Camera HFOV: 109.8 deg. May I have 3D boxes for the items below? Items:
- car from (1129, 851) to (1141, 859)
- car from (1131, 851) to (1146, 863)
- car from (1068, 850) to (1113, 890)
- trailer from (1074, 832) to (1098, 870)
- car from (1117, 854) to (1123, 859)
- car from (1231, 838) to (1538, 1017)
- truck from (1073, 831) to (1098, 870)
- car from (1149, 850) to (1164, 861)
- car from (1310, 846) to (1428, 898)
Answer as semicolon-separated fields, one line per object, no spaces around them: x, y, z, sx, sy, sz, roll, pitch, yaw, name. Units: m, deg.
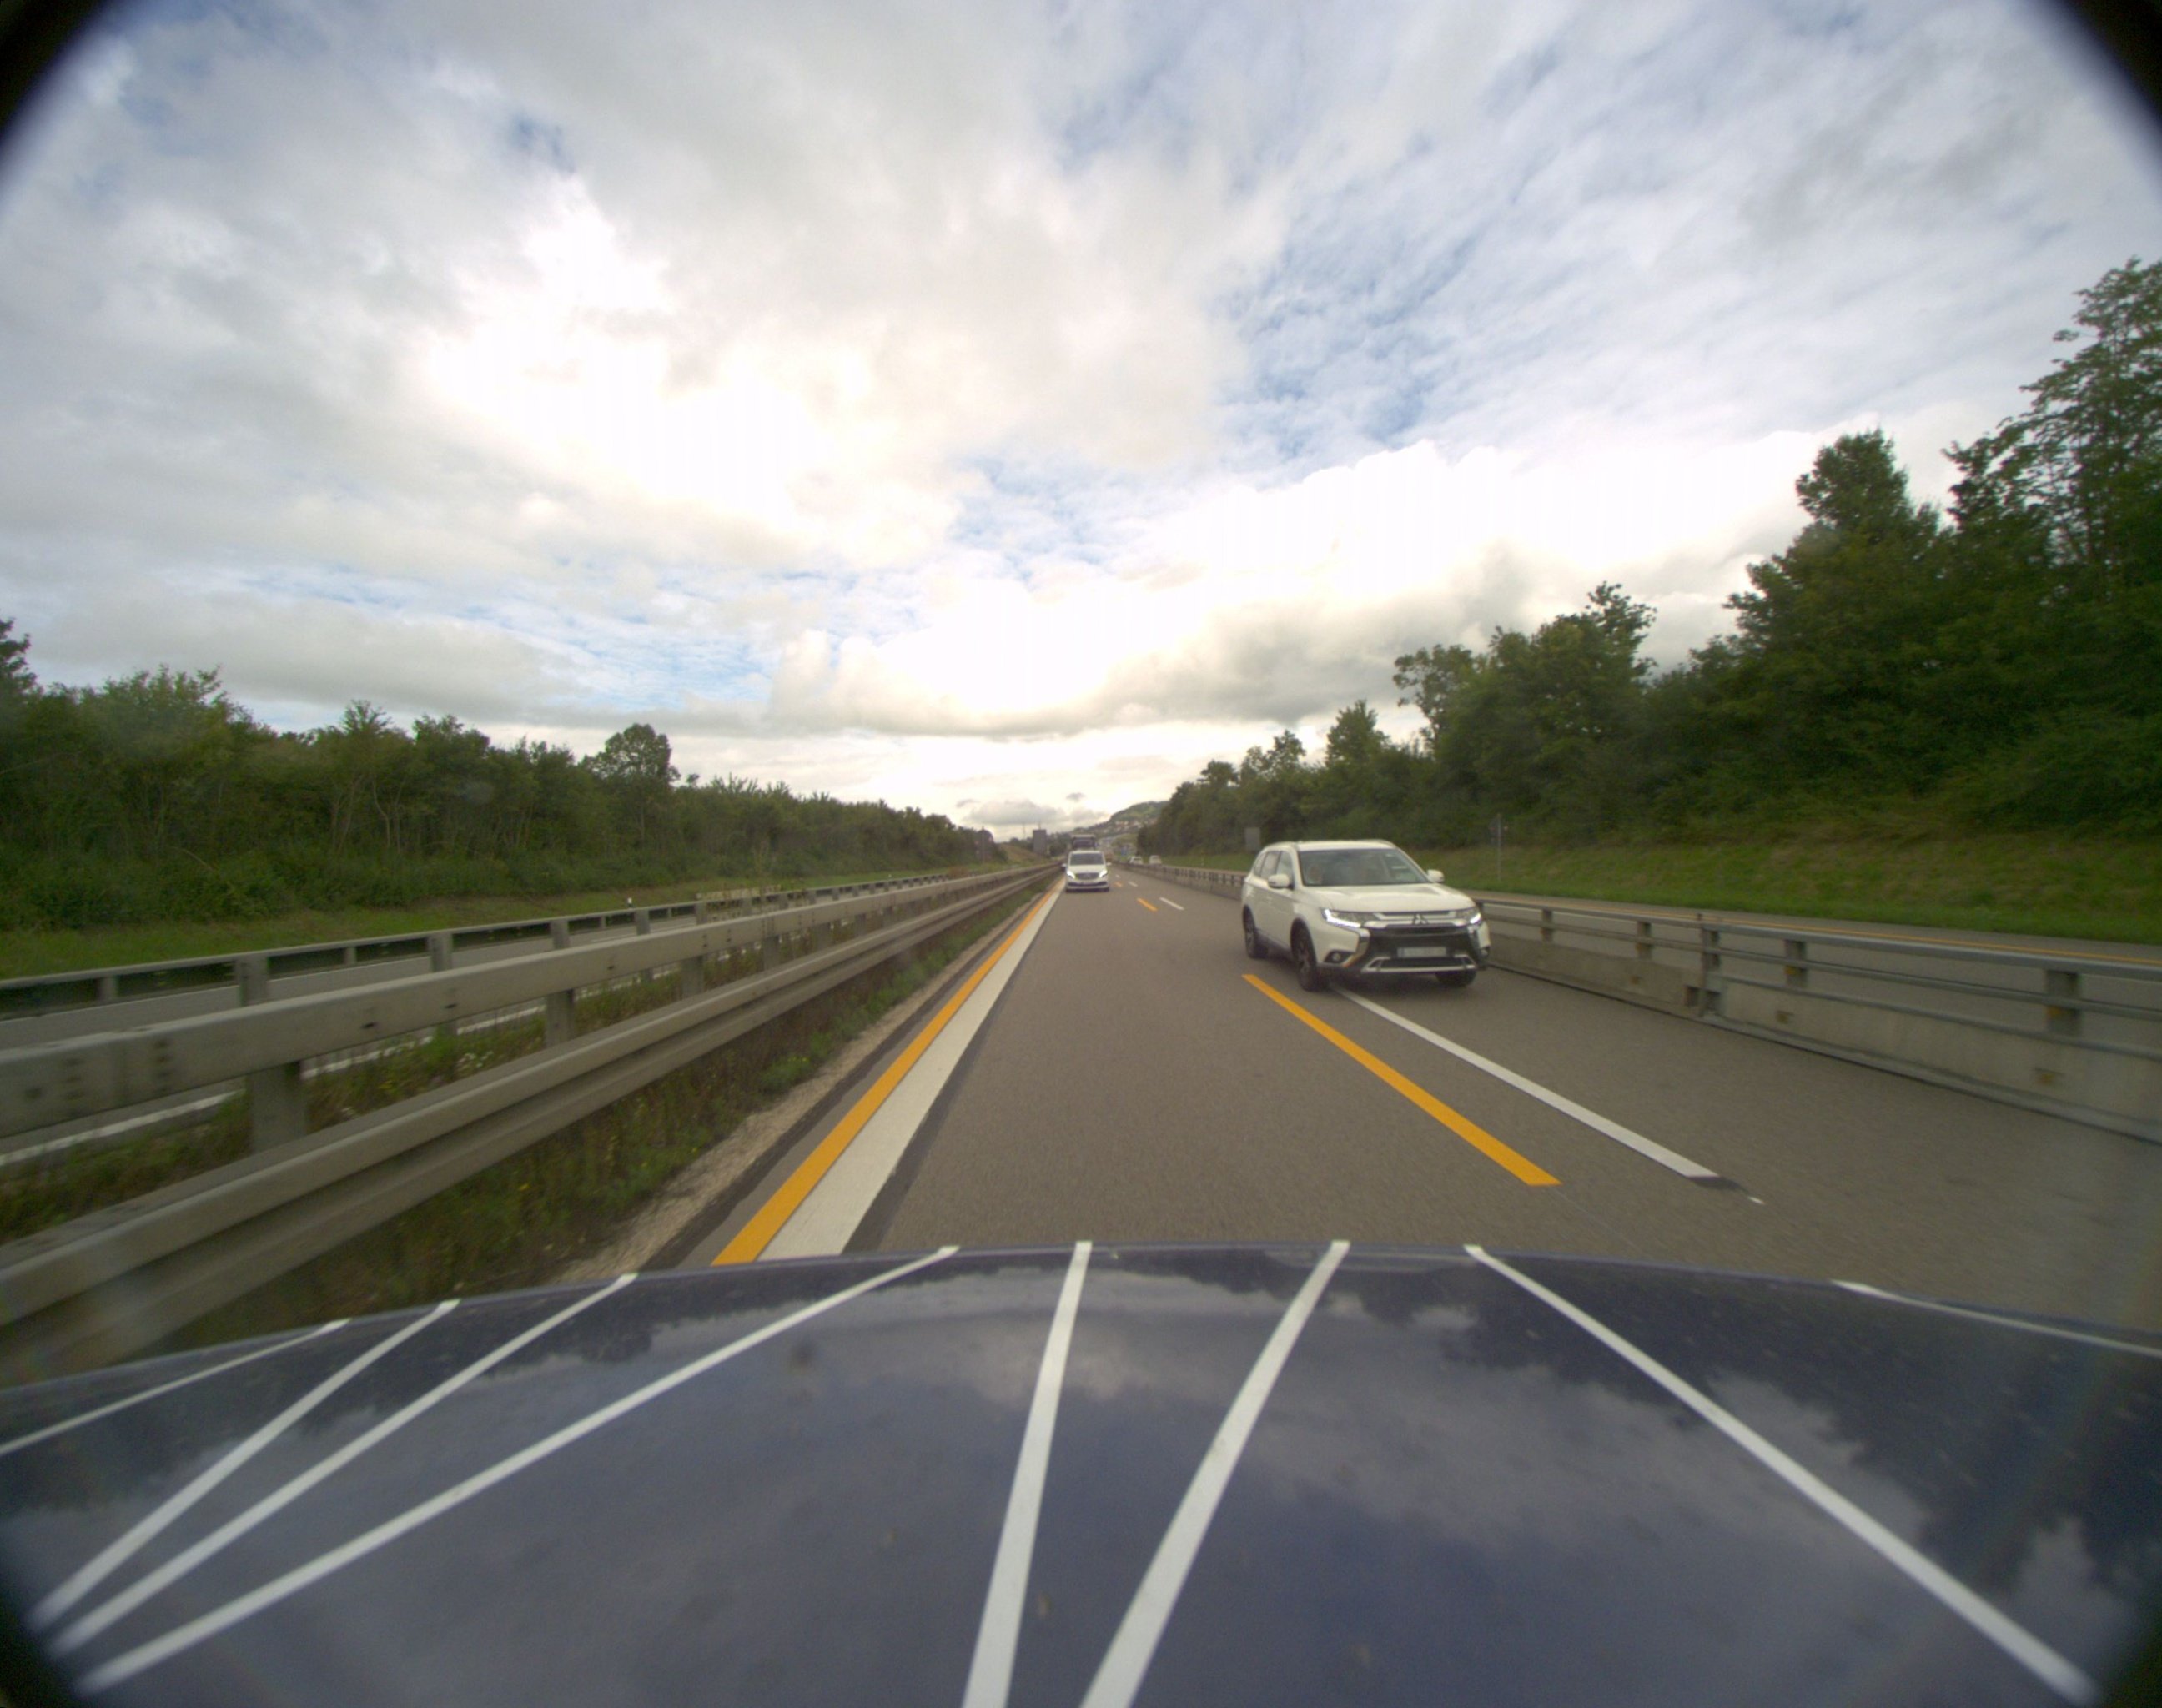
11.164;0.166;157.300;1.998;1.515;5.024;-2;0;1;car
7.710;0.374;102.151;1.699;1.445;4.551;-2;0;0;car
0.440;0.717;36.909;1.991;1.787;4.585;-2;0;0;car
0.648;-0.369;89.217;2.521;4.081;11.112;-2;0;1;trailer
11.784;0.720;230.943;1.685;1.541;3.949;-1;0;0;car
3.276;0.681;9.379;1.998;1.618;4.607;-2;0;1;car
0.564;-0.395;83.947;2.521;4.081;5.685;-2;1;1;truck
11.311;0.237;113.831;1.699;1.445;3.958;-3;0;0;car
9.207;0.542;24.824;2.013;1.460;4.901;-2;0;1;car
